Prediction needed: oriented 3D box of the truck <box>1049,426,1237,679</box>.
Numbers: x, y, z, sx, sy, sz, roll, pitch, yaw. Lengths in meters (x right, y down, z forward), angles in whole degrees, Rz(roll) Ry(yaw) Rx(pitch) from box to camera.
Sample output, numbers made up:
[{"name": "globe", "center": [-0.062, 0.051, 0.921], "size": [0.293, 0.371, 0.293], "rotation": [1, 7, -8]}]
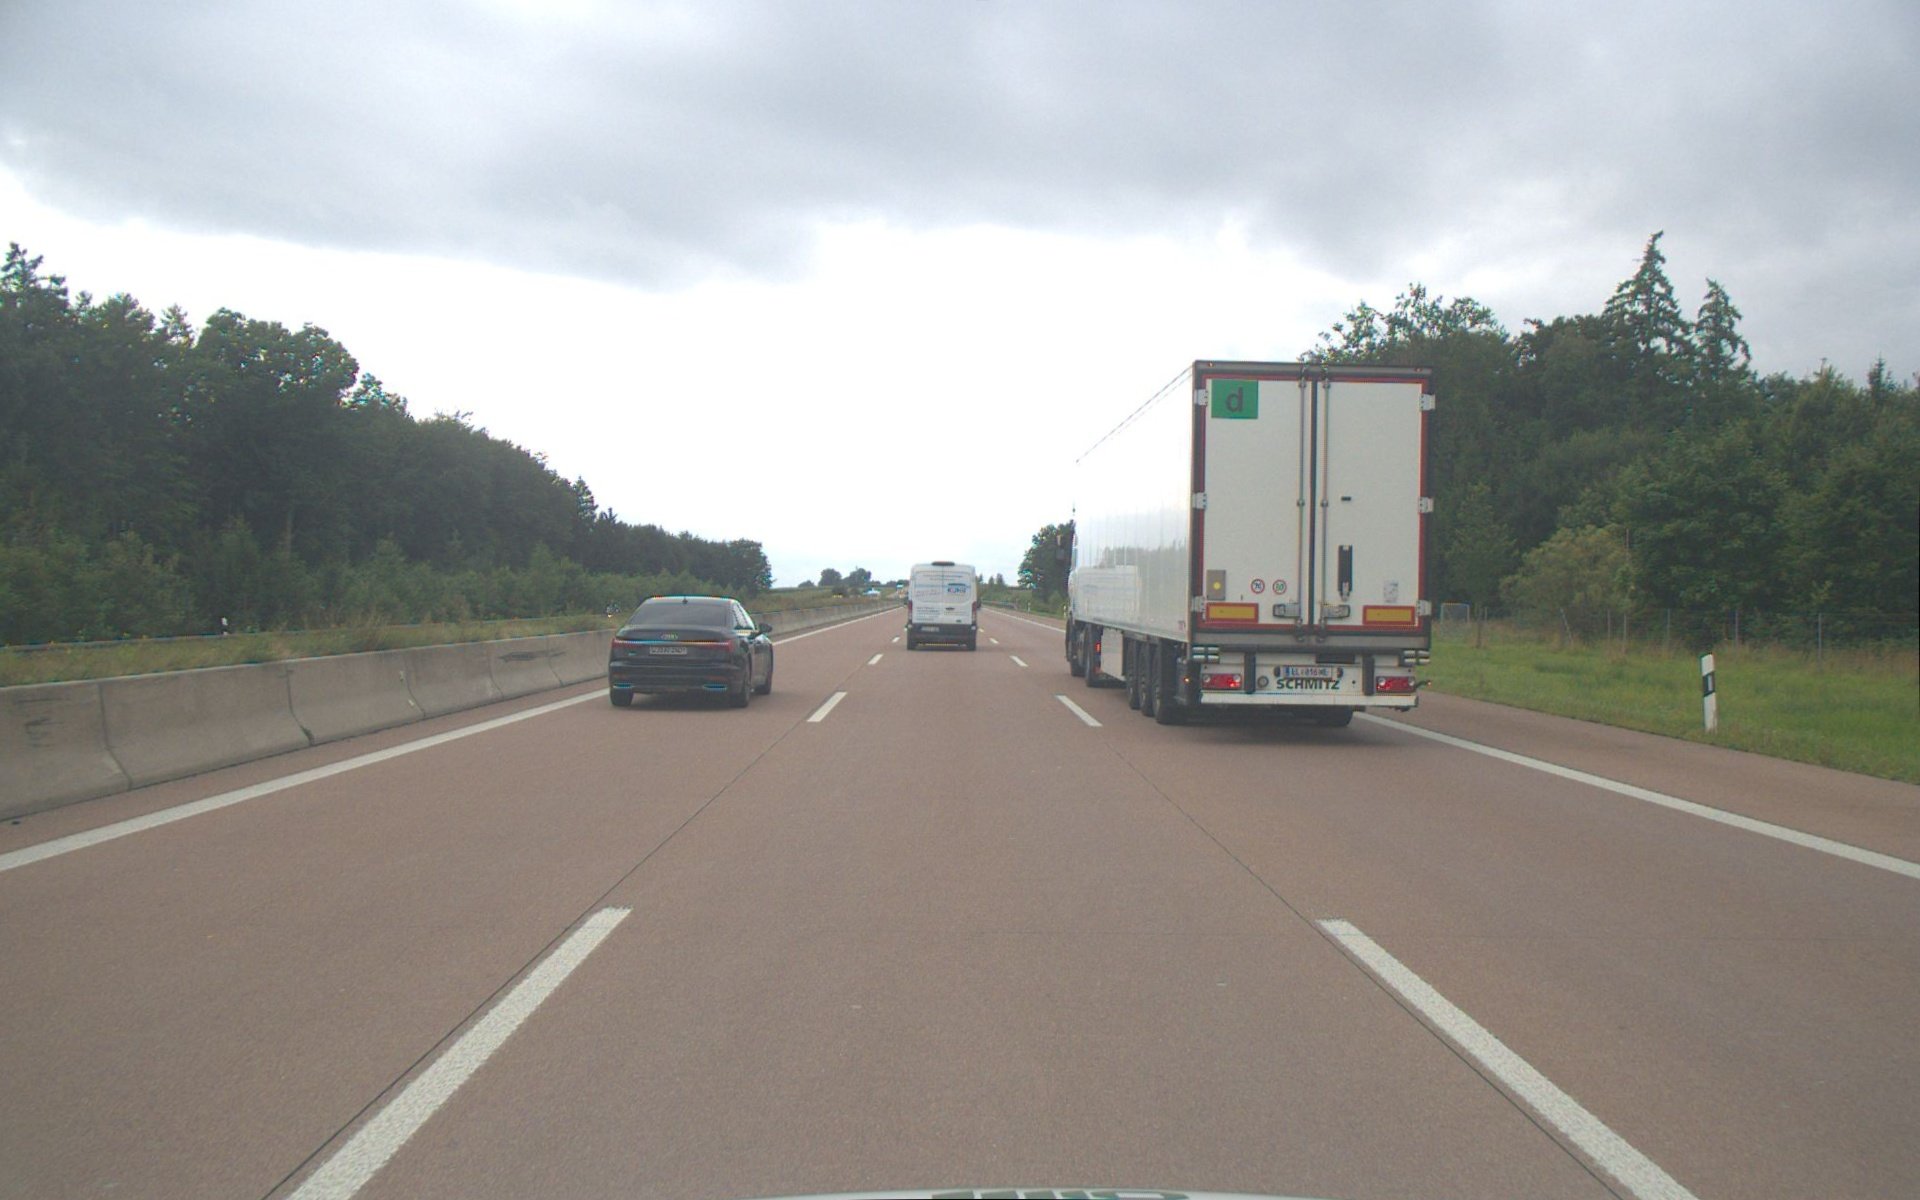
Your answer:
[{"name": "truck", "center": [3.331, -0.833, 31.394], "size": [2.862, 4.369, 5.333], "rotation": [0, 0, -1]}]

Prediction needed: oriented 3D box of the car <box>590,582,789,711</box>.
[{"name": "car", "center": [-3.694, 0.557, 23.614], "size": [2.043, 1.577, 5.672], "rotation": [1, 1, -2]}]

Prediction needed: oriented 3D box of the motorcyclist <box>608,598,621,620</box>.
[{"name": "motorcyclist", "center": [-20.567, 0.515, 98.593], "size": [0.582, 1.306, 0.801], "rotation": [2, 0, -1]}]

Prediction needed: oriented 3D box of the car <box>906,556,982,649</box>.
[{"name": "car", "center": [-0.464, 0.022, 49.372], "size": [2.094, 2.551, 7.131], "rotation": [0, 1, 0]}]

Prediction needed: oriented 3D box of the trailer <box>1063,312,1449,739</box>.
[{"name": "trailer", "center": [3.473, -0.780, 23.832], "size": [2.862, 4.369, 13.610], "rotation": [0, 0, -1]}]

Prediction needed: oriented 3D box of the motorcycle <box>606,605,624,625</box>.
[{"name": "motorcycle", "center": [-20.577, 0.875, 98.678], "size": [0.588, 1.175, 2.154], "rotation": [2, 0, -1]}]
